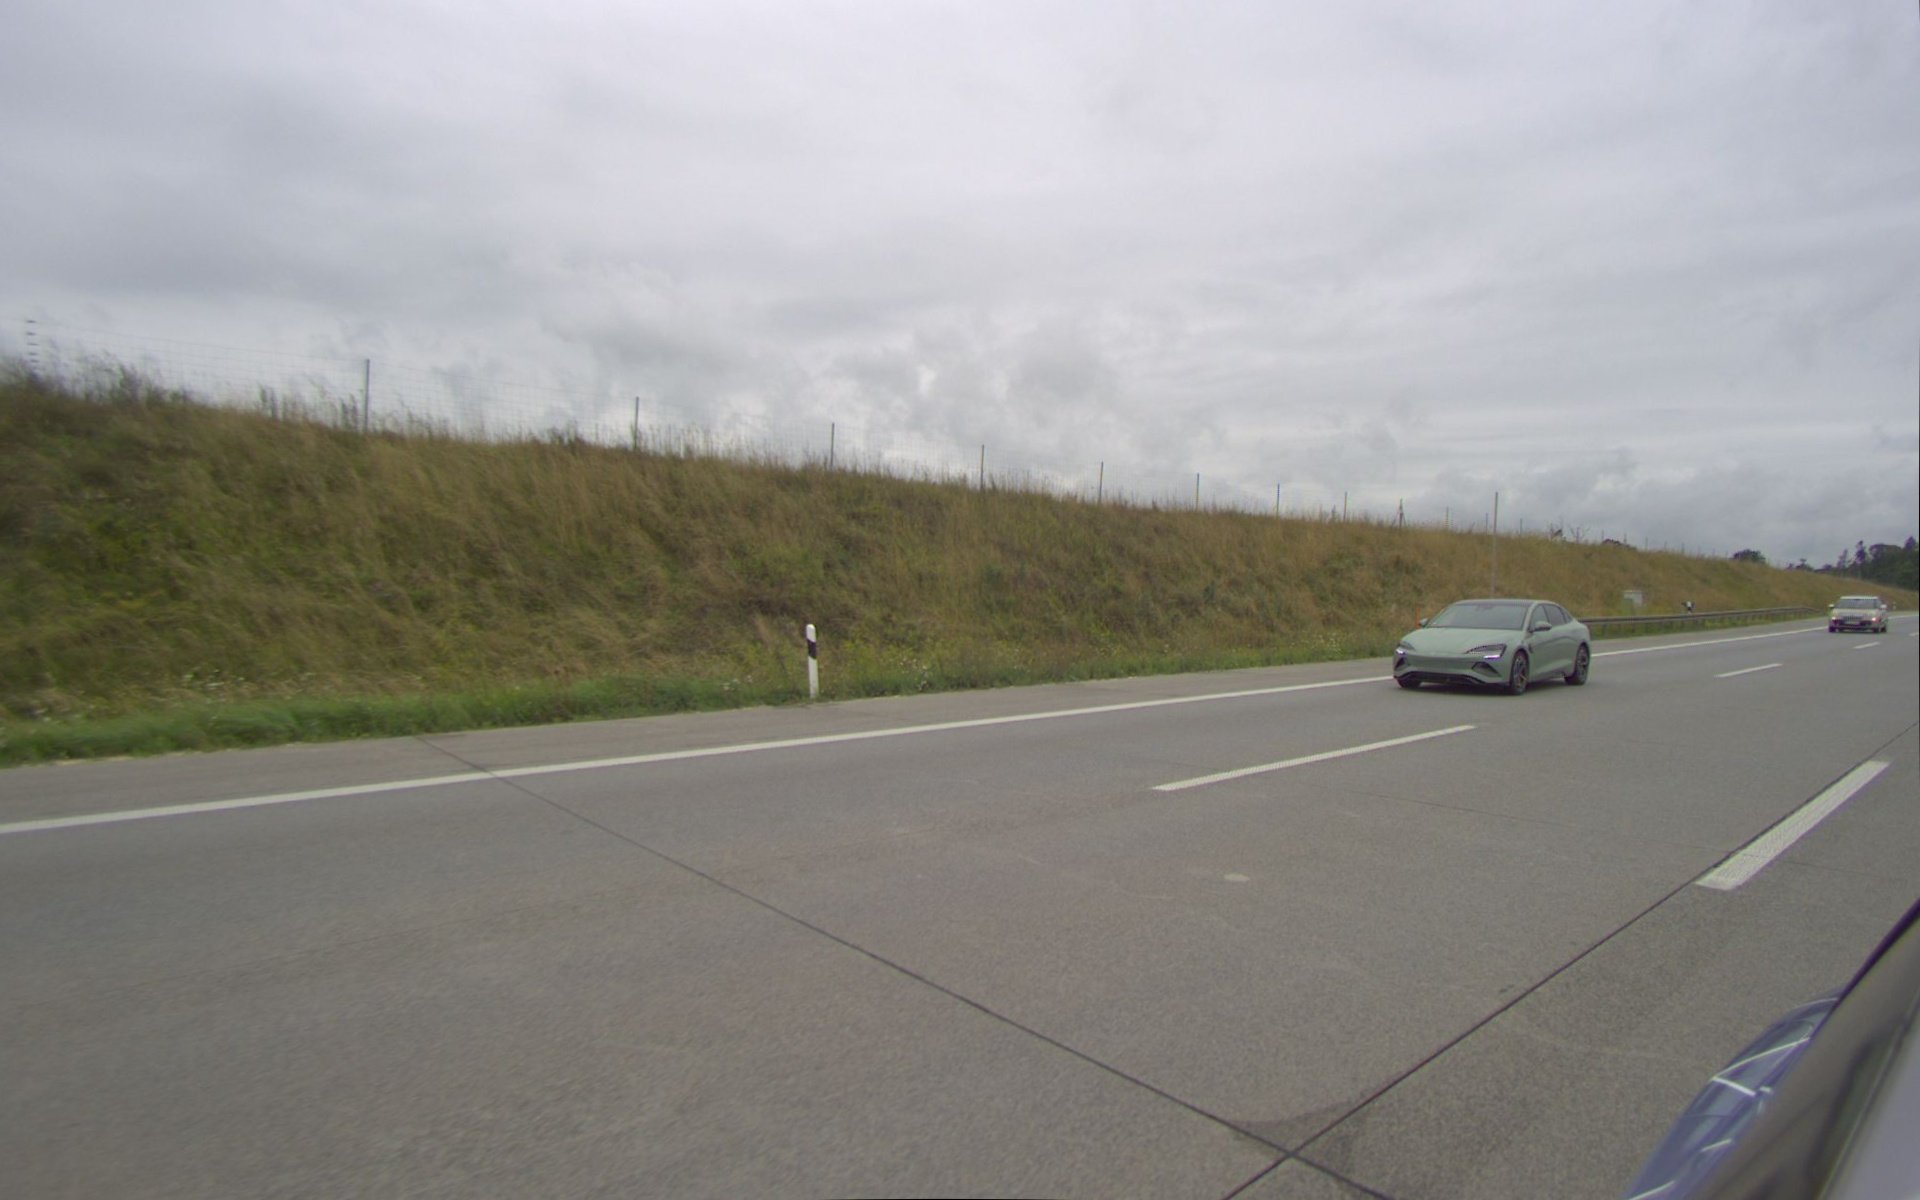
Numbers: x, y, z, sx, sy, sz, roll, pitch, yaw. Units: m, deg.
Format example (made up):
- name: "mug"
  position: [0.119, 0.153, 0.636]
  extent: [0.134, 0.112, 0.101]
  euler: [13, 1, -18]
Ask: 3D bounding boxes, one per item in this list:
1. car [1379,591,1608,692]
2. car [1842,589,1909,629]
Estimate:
- name: "car"
  position: [9.087, 0.655, 17.056]
  extent: [4.664, 1.464, 2.016]
  euler: [1, -2, -43]
- name: "car"
  position: [41.331, 0.414, 45.667]
  extent: [4.492, 1.624, 1.788]
  euler: [1, 2, -43]
